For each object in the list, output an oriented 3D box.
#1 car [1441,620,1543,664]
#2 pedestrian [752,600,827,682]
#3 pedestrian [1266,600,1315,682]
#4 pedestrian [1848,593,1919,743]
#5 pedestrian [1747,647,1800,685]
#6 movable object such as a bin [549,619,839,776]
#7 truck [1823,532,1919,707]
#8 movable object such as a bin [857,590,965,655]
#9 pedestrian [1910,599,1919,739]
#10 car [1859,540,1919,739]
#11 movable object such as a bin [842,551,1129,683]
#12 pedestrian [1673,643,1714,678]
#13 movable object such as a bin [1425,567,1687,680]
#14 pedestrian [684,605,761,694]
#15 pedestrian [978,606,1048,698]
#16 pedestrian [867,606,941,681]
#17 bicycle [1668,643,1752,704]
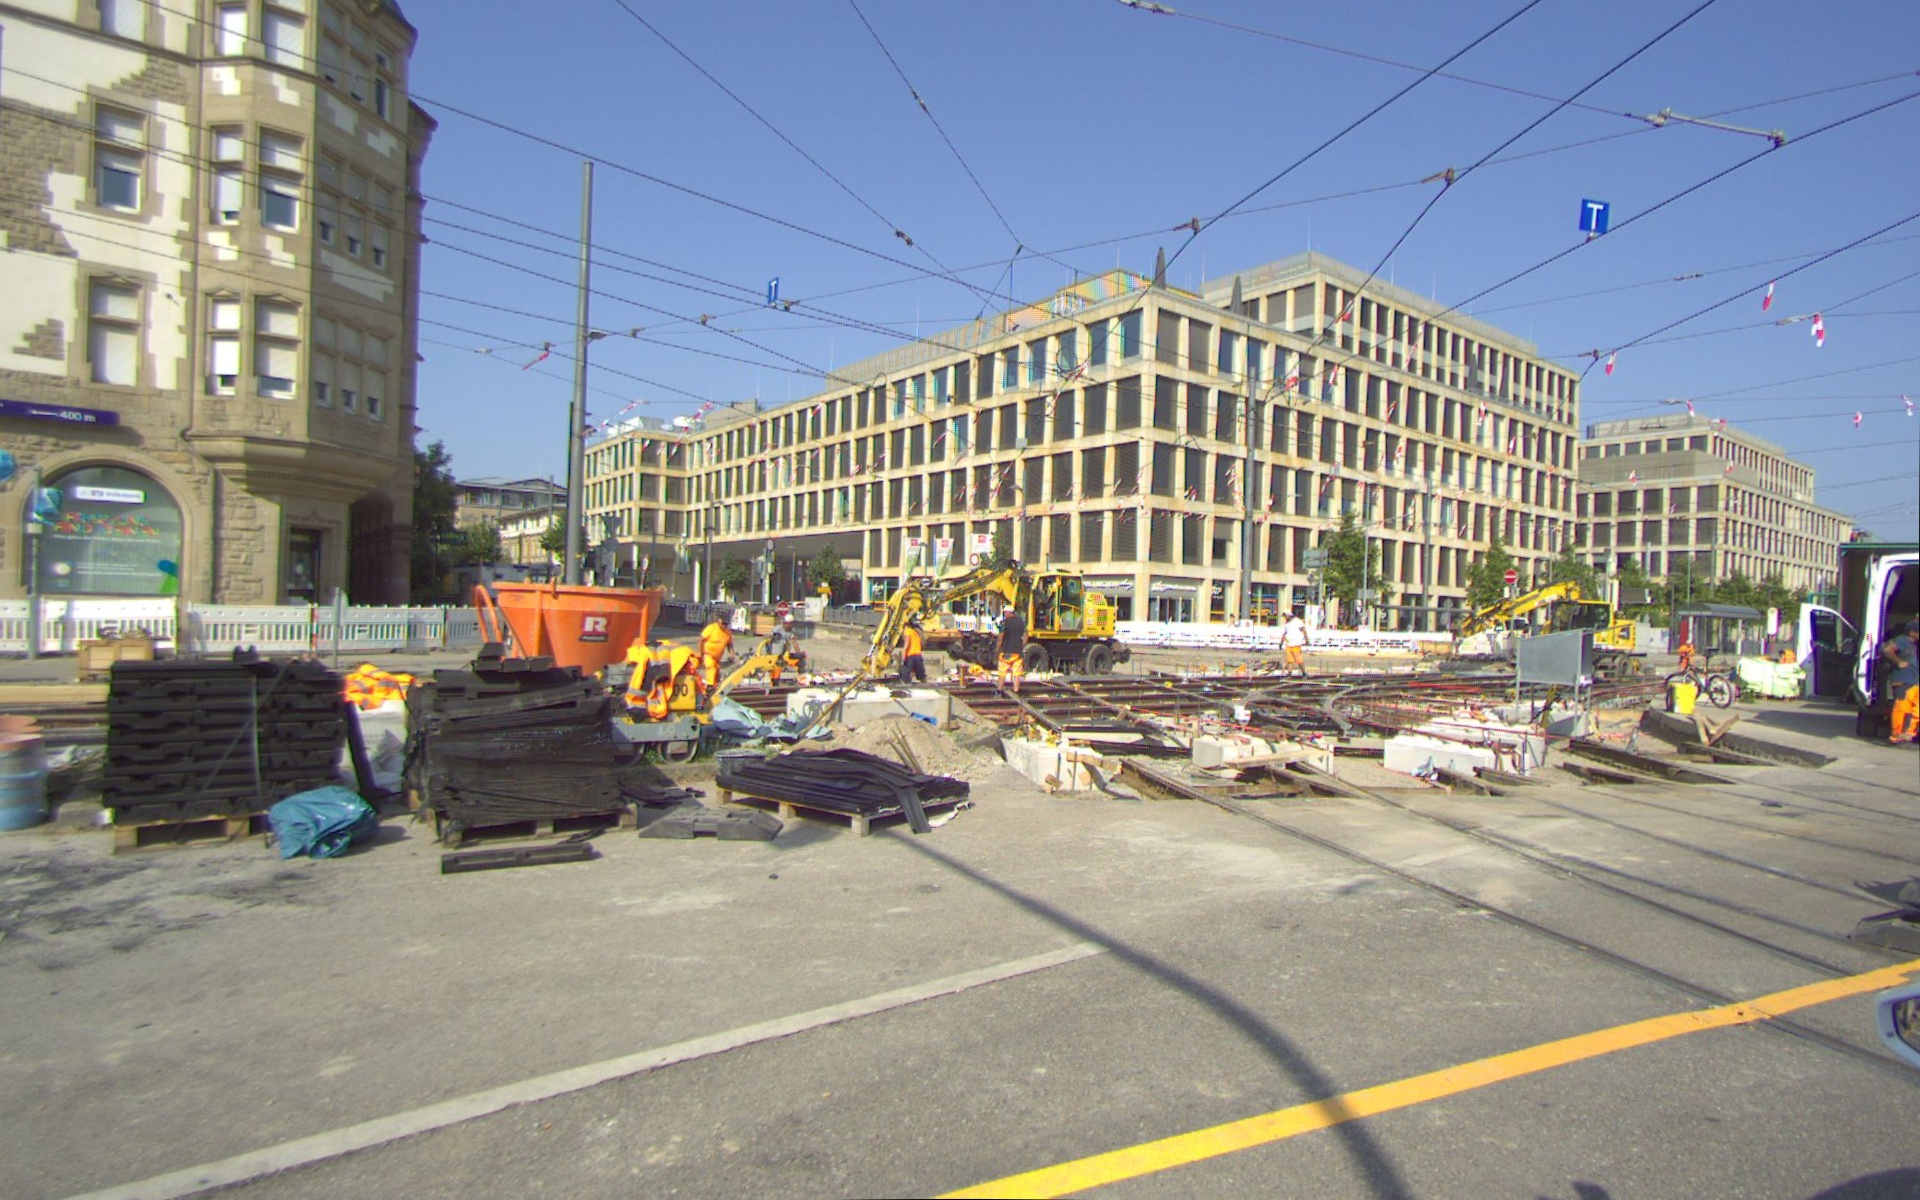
[{"bbox_3d":[27.204,2.150,51.320,5.045,2.057,1.807,2,-1,-23],"label":"car"},{"bbox_3d":[-3.160,0.744,18.571,0.909,1.461,1.134,3,-1,-36],"label":"pedestrian"},{"bbox_3d":[7.954,0.965,24.138,1.000,1.890,1.145,2,-1,22],"label":"pedestrian"},{"bbox_3d":[13.256,0.949,14.119,0.890,2.040,0.736,2,-1,-5],"label":"pedestrian"},{"bbox_3d":[29.930,2.414,36.980,0.785,1.324,1.313,2,-1,-12],"label":"pedestrian"},{"bbox_3d":[-2.236,0.792,8.584,2.264,1.185,0.746,2,-1,-30],"label":"movable object such as a bin"},{"bbox_3d":[23.082,0.529,24.460,2.646,3.727,8.165,1,-1,44],"label":"truck"},{"bbox_3d":[-2.333,0.973,46.174,2.116,2.775,5.572,3,-1,-37],"label":"movable object such as a bin"},{"bbox_3d":[14.570,1.027,14.713,0.897,2.040,0.730,2,-1,-31],"label":"pedestrian"},{"bbox_3d":[15.428,0.650,15.508,2.199,2.765,5.144,1,-1,41],"label":"car"},{"bbox_3d":[0.931,0.587,29.185,8.265,3.374,2.827,3,-1,-36],"label":"movable object such as a bin"},{"bbox_3d":[28.983,2.378,39.704,0.972,1.324,1.009,2,-1,-33],"label":"pedestrian"},{"bbox_3d":[23.354,0.954,39.503,8.886,4.066,3.506,2,-1,-13],"label":"movable object such as a bin"},{"bbox_3d":[-4.130,0.839,17.426,0.909,1.461,1.134,3,-1,-36],"label":"pedestrian"},{"bbox_3d":[0.952,0.929,18.314,1.002,1.610,1.144,2,-1,-10],"label":"pedestrian"},{"bbox_3d":[-1.142,0.871,20.341,1.011,1.461,1.134,3,-1,-36],"label":"pedestrian"},{"bbox_3d":[15.559,1.509,20.880,0.605,1.151,1.663,2,-1,6],"label":"bicycle"}]
